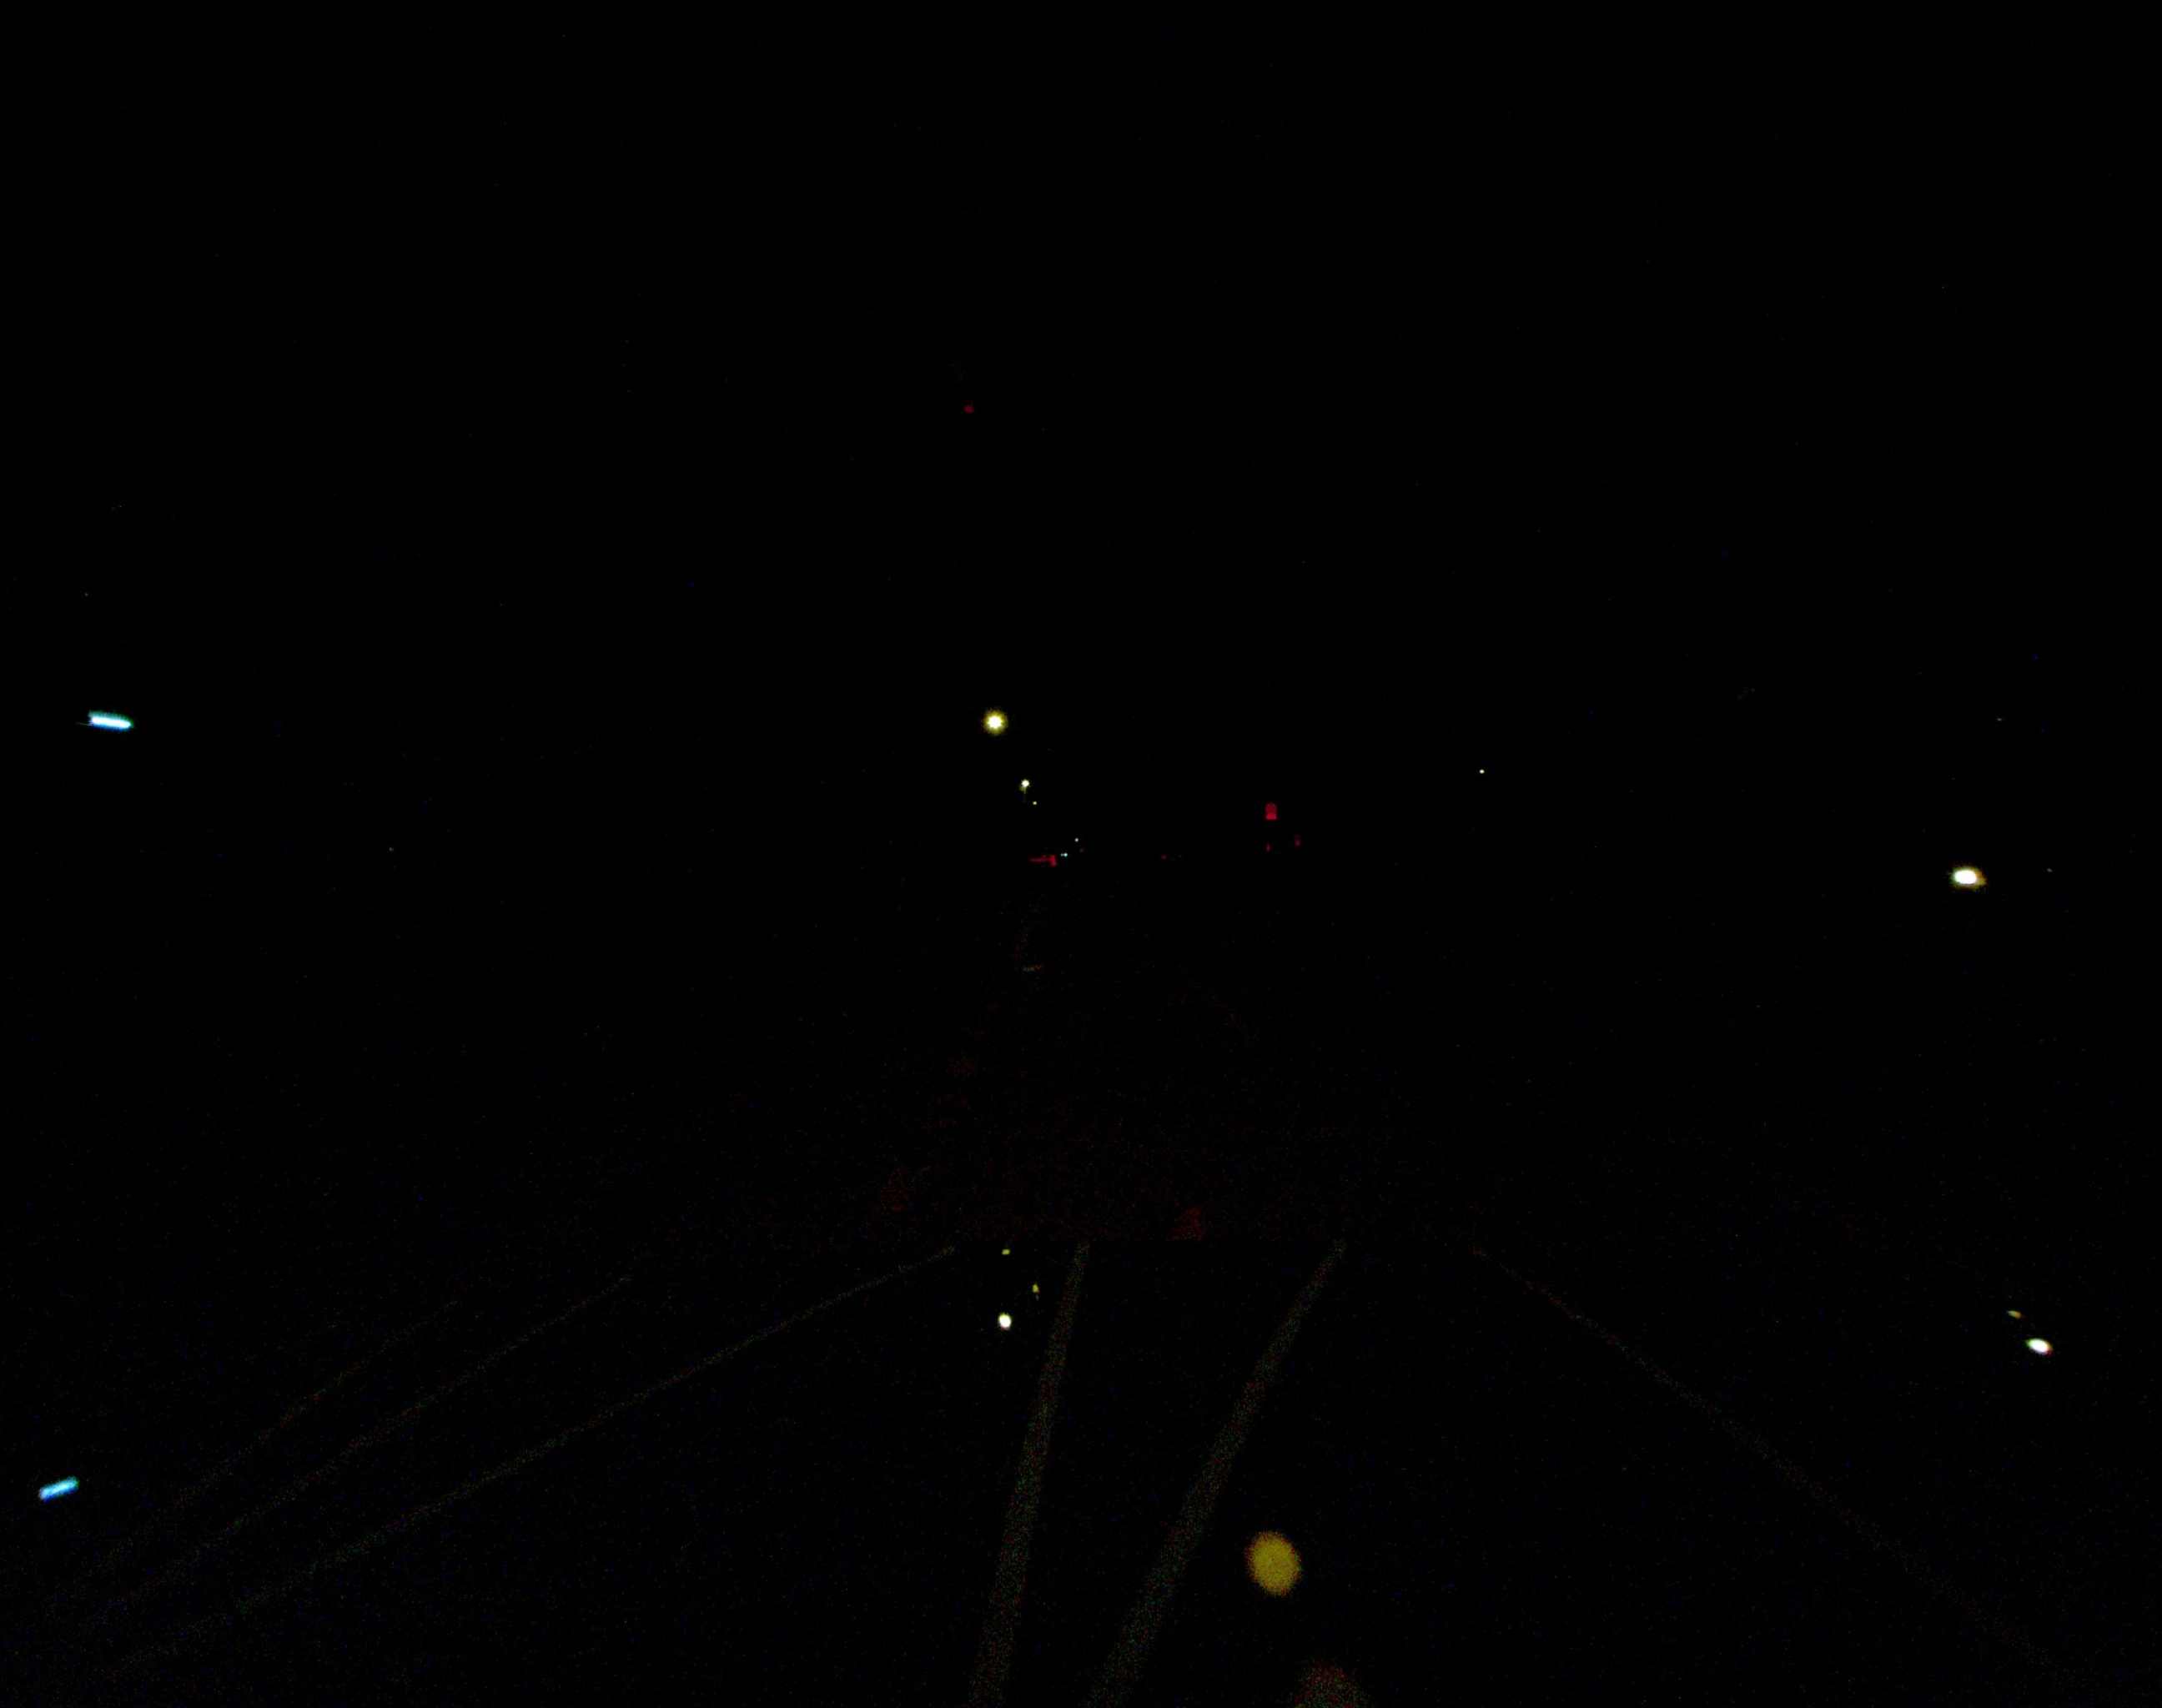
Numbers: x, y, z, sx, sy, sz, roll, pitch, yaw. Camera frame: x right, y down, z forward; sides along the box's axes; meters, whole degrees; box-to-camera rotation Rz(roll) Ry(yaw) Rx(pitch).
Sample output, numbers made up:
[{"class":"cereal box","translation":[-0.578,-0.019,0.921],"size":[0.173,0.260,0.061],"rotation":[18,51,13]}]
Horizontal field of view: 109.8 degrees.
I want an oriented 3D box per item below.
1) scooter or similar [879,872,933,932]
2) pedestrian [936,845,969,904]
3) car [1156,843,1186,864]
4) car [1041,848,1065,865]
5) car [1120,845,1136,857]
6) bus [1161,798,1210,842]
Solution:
[{"class":"scooter or similar","translation":[-3.680,0.998,16.036],"size":[0.468,1.195,1.137],"rotation":[-2,0,24]},{"class":"pedestrian","translation":[-4.168,0.642,24.733],"size":[0.819,1.854,1.034],"rotation":[-2,1,1]},{"class":"car","translation":[7.160,-0.069,60.841],"size":[1.806,1.583,3.999],"rotation":[-2,1,-2]},{"class":"car","translation":[-2.877,0.269,78.155],"size":[1.998,1.638,4.000],"rotation":[0,2,4]},{"class":"car","translation":[6.238,-0.370,100.283],"size":[1.863,1.484,4.080],"rotation":[-2,1,1]},{"class":"bus","translation":[17.530,-5.561,129.114],"size":[6.135,6.898,14.781],"rotation":[-2,1,1]}]
